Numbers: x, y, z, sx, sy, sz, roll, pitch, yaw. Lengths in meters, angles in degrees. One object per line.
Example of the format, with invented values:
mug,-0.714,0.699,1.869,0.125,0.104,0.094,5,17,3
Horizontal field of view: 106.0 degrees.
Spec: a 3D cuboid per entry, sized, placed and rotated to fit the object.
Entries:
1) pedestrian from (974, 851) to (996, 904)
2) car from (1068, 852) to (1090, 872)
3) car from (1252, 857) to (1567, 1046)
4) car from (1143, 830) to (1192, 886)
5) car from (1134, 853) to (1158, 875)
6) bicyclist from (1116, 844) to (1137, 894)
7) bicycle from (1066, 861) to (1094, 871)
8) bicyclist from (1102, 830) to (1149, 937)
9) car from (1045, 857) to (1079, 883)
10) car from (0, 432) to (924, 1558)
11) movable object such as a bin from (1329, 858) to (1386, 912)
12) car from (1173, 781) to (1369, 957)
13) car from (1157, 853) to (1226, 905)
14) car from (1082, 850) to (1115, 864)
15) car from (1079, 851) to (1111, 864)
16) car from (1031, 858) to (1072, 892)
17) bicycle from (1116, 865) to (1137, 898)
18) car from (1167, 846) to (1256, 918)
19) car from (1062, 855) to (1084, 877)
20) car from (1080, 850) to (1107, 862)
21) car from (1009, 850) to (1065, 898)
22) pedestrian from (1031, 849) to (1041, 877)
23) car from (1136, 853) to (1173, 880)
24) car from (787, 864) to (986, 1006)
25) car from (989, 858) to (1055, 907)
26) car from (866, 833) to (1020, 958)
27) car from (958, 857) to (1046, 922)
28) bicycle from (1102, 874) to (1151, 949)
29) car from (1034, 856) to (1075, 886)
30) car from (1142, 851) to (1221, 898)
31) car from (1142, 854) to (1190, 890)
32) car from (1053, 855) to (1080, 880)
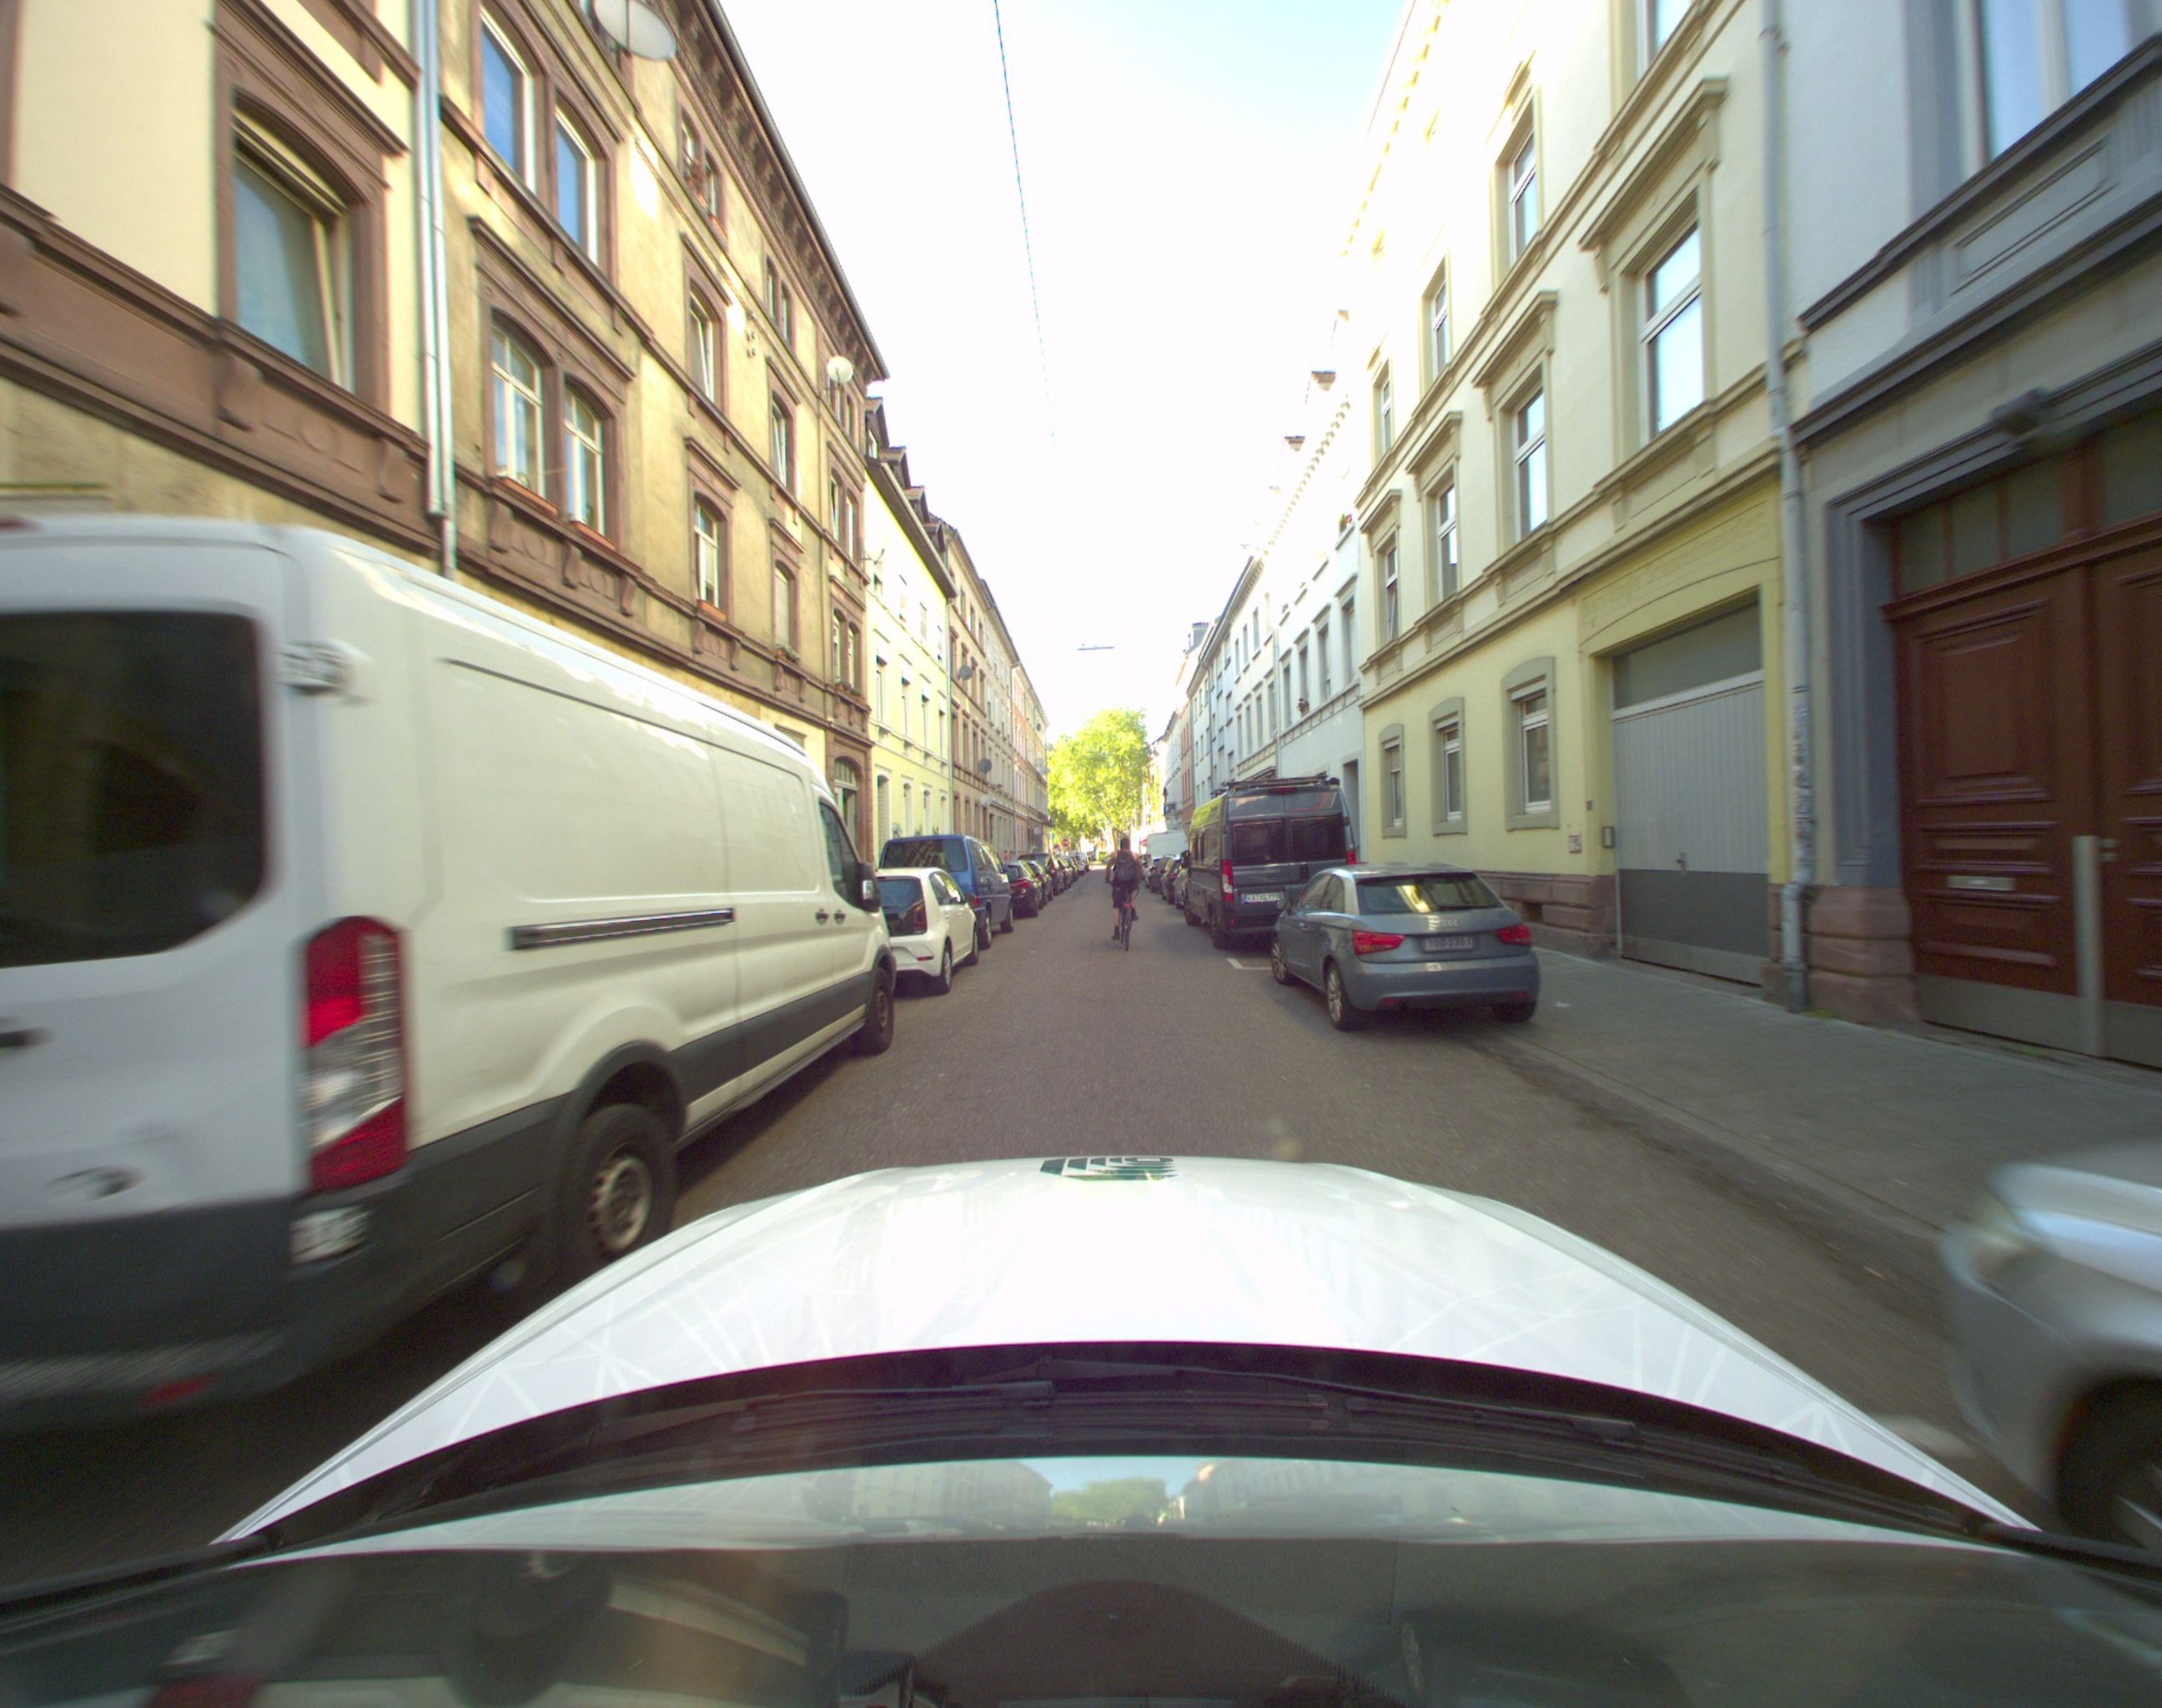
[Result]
pedestrian,-3.348,0.814,28.485,0.648,1.817,0.754,0,0,2
car,-0.156,0.703,72.667,1.781,1.737,3.877,-2,0,1
car,3.040,0.783,8.549,1.741,1.444,4.174,-1,0,2
car,4.313,0.187,41.376,2.194,2.551,6.042,-2,0,4
car,4.823,0.725,60.703,1.586,1.492,3.878,-2,0,2
bicyclist,1.569,0.512,28.233,0.667,1.658,0.877,-2,0,2
bicycle,-0.103,1.217,82.337,2.707,0.892,0.618,-2,0,-1
bicyclist,0.720,0.467,13.361,0.737,1.679,1.117,0,0,1
car,-1.055,0.919,48.132,1.699,1.414,4.304,-2,0,2
car,-2.674,0.341,4.762,2.161,2.452,5.922,-3,0,1
movable object such as a bin,5.785,0.641,17.073,0.860,1.042,0.708,-5,0,0
car,3.084,0.211,14.868,2.167,2.425,6.311,-3,0,2
car,3.449,0.739,26.105,1.739,1.485,4.245,-2,0,2
car,2.400,0.455,111.893,4.458,1.759,1.864,-2,0,-3
car,1.944,0.566,116.984,4.458,1.696,1.864,-2,0,-3
car,-1.333,0.928,38.095,1.585,1.440,3.656,-2,0,3
bicycle,1.582,0.941,28.293,0.661,1.037,1.960,-2,0,2
car,3.300,0.660,21.355,1.687,1.608,4.376,-3,0,2
car,-0.600,0.843,60.466,1.540,1.550,3.463,-2,0,-1
car,2.101,0.332,137.196,4.458,1.696,1.864,-2,0,-3
car,-1.707,0.771,33.123,1.794,1.698,4.002,-4,0,2
pedestrian,-2.983,0.593,53.952,0.608,1.858,0.754,0,0,1
car,4.262,0.710,47.910,1.726,1.470,4.020,-2,0,-1
car,-2.351,0.905,10.811,1.640,1.447,3.839,-2,0,0
car,-1.892,0.904,27.163,1.730,1.427,4.002,-2,0,2
car,-2.397,0.667,15.412,1.820,1.891,4.616,-4,0,2
car,-2.021,0.876,22.101,1.856,1.440,4.644,-2,0,0
bicycle,0.726,0.902,13.447,0.737,1.100,2.043,0,0,2
car,-1.354,0.880,43.076,1.666,1.430,3.893,-2,0,4
car,3.705,0.720,30.886,1.810,1.478,4.596,-5,1,-7
car,3.688,0.742,35.942,1.719,1.429,3.832,-2,0,1
car,-0.936,0.865,53.093,1.599,1.530,3.379,-3,0,0
